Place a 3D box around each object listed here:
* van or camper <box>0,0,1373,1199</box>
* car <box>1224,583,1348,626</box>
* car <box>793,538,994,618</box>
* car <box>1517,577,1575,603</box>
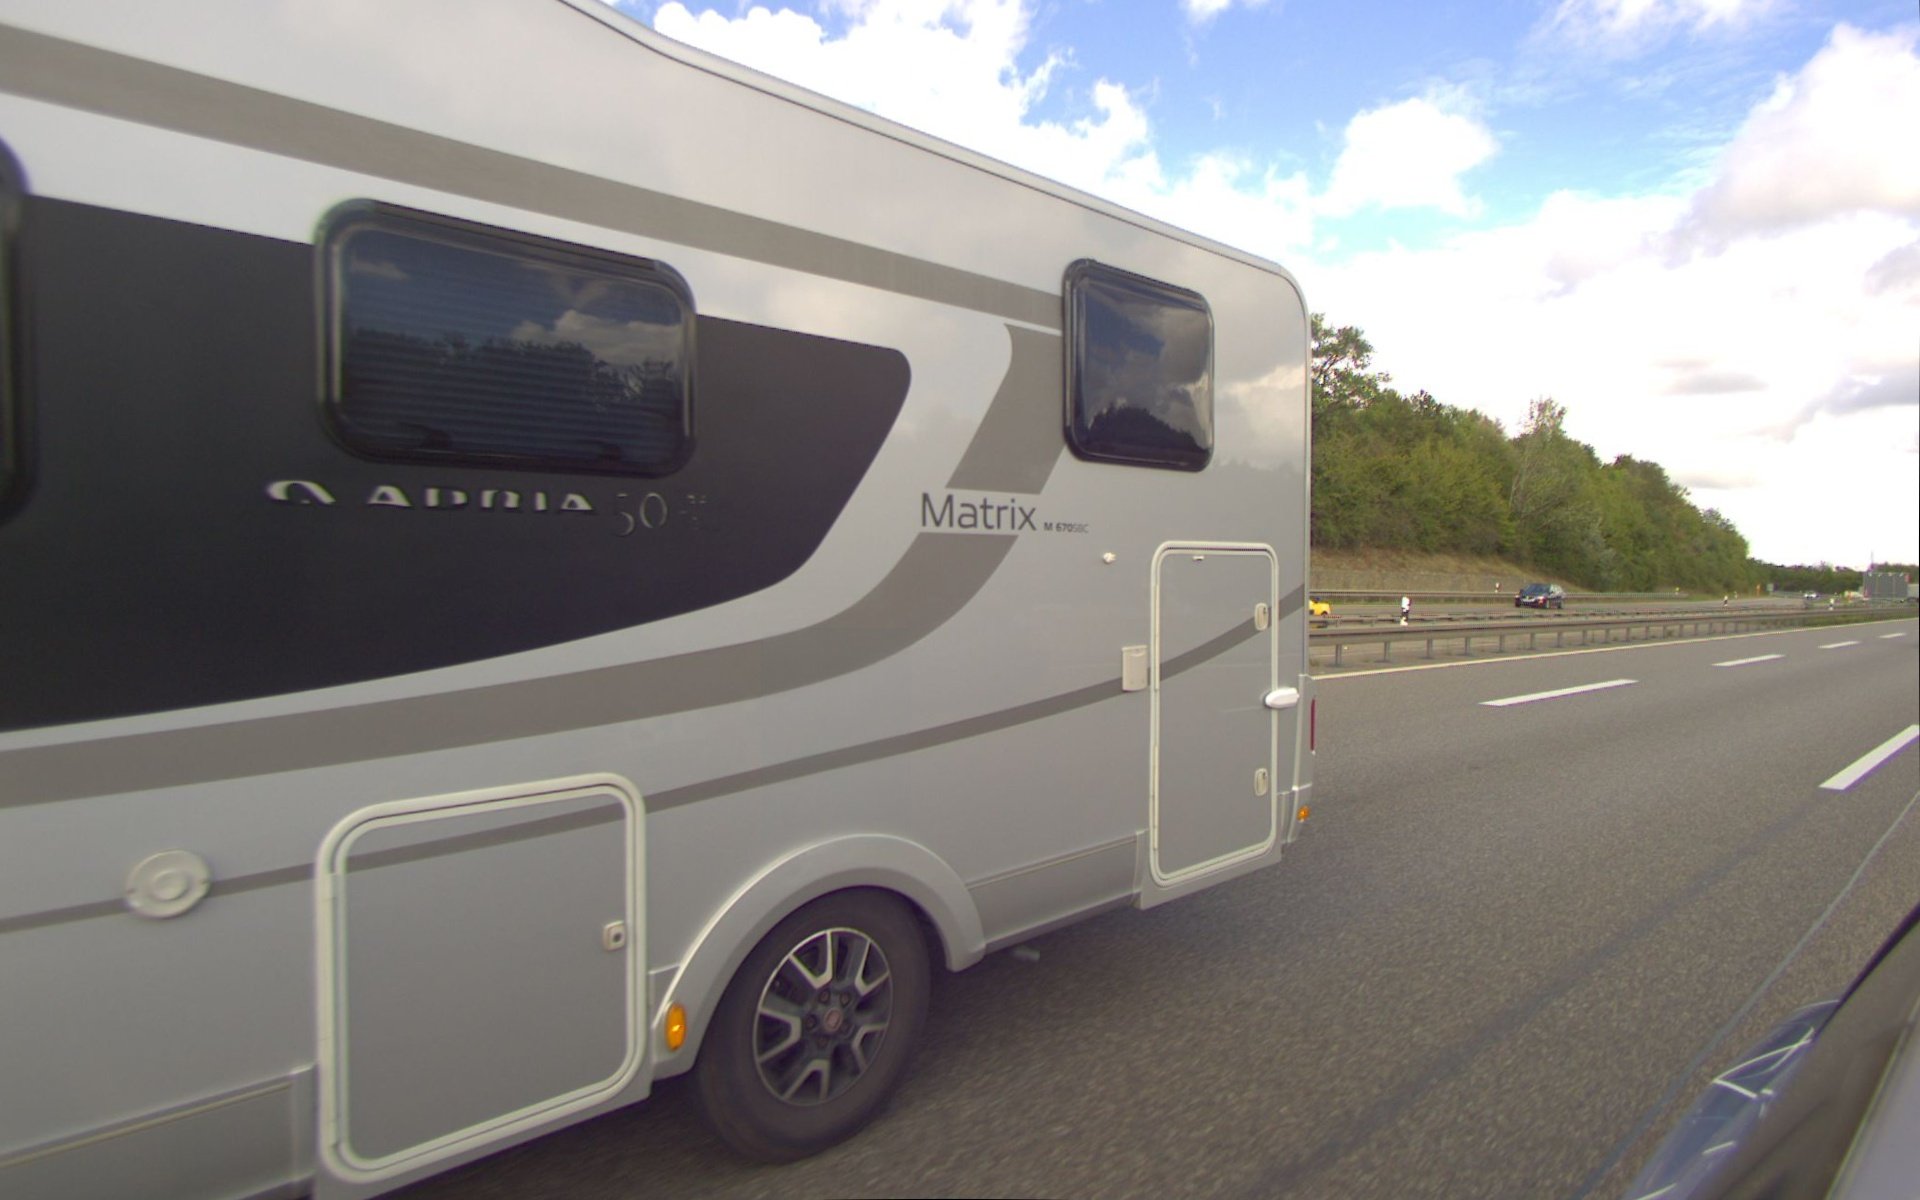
[{"bbox_3d":[-2.097,-0.049,2.271,7.528,2.756,2.473,0,1,-41],"label":"van or camper"},{"bbox_3d":[9.911,0.125,30.618,4.096,1.196,1.715,0,2,-41],"label":"car"},{"bbox_3d":[-1.541,-0.504,24.545,4.680,1.773,1.847,0,1,-41],"label":"car"},{"bbox_3d":[35.286,-0.604,60.914,4.095,1.433,1.715,0,2,-41],"label":"car"}]
